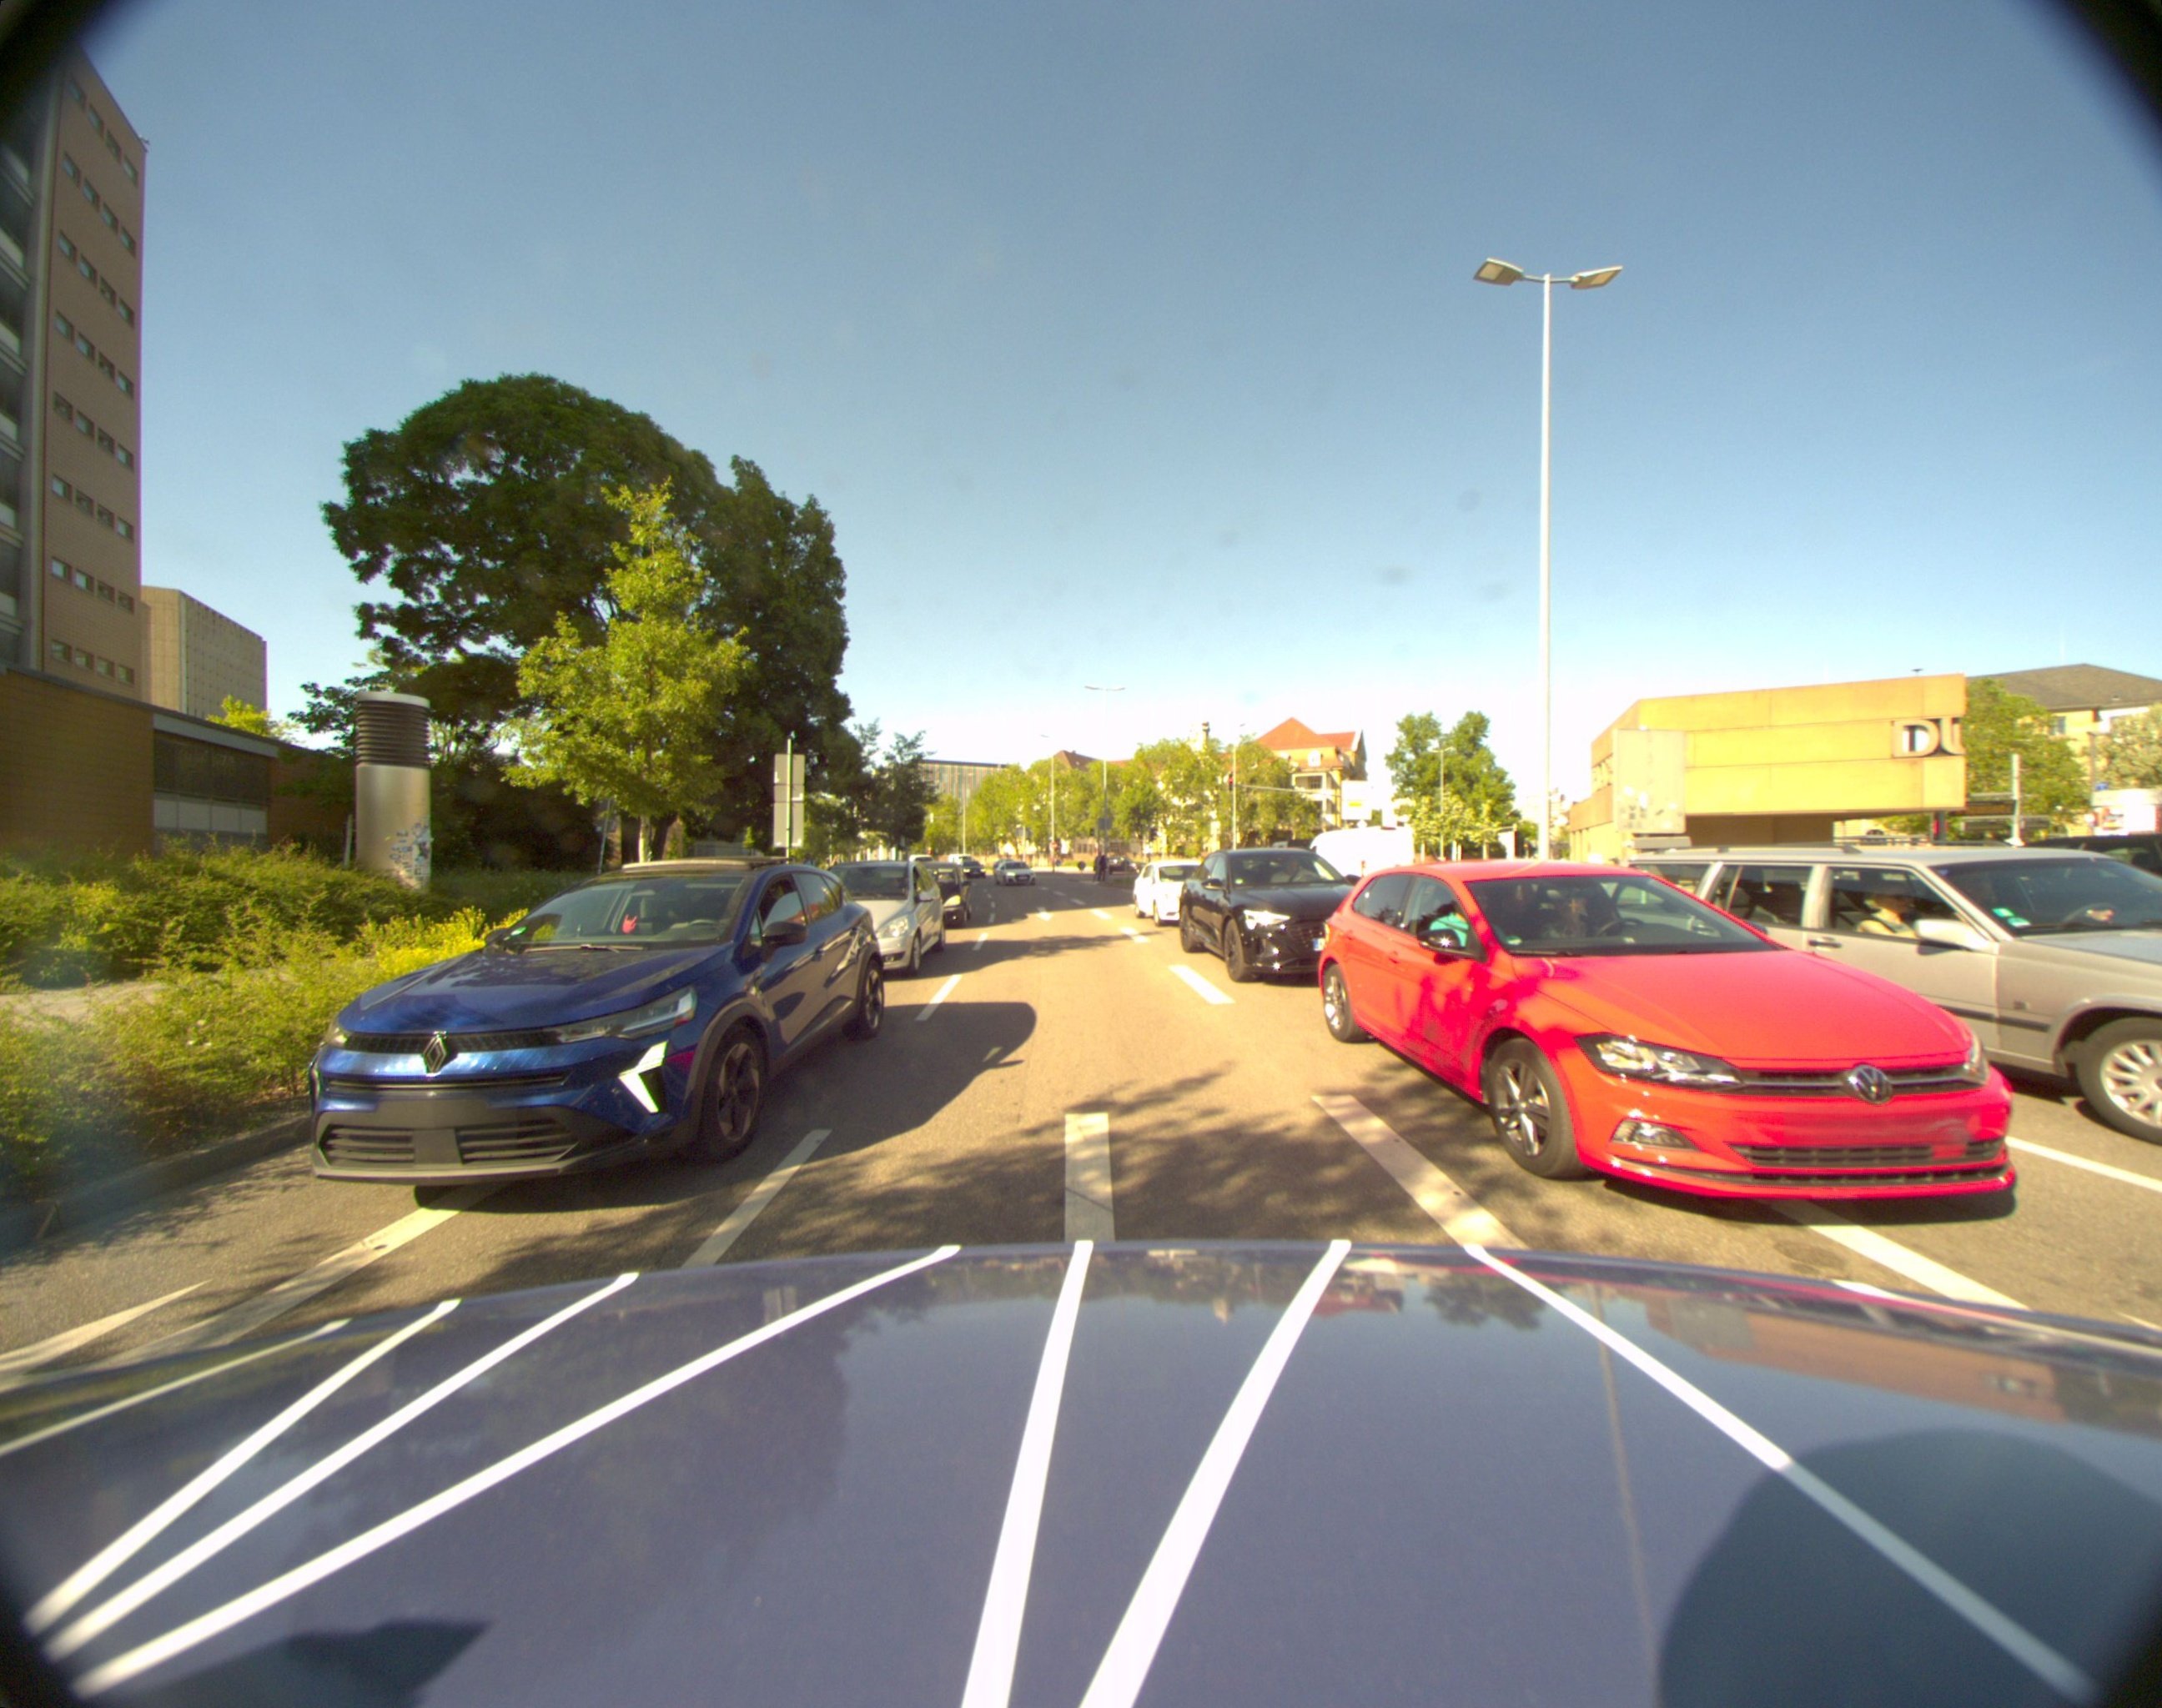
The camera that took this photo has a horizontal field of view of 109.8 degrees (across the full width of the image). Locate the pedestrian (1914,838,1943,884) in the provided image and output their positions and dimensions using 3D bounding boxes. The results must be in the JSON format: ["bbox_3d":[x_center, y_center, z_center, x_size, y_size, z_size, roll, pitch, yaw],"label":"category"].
[{"bbox_3d":[33.070,0.275,29.643,0.645,1.766,0.468,-1,1,-4],"label":"pedestrian"}]

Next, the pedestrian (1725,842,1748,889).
[{"bbox_3d":[25.019,0.431,29.015,0.644,1.766,0.618,0,1,42],"label":"pedestrian"}]

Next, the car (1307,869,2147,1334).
[{"bbox_3d":[2.794,0.883,4.525,1.674,1.464,3.853,-2,0,-1],"label":"car"}]

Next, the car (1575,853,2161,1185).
[{"bbox_3d":[5.765,0.779,5.016,1.713,1.464,4.752,-3,-1,-2],"label":"car"}]

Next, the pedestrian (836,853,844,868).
[{"bbox_3d":[-30.392,0.814,95.696,0.823,1.906,0.770,-2,1,-22],"label":"pedestrian"}]

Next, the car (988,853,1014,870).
[{"bbox_3d":[-7.584,0.689,71.903,1.598,1.596,3.066,0,0,-24],"label":"car"}]

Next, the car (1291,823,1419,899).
[{"bbox_3d":[9.792,0.230,27.706,2.000,2.493,5.414,0,0,-9],"label":"car"}]

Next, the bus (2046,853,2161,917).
[{"bbox_3d":[21.639,0.593,14.229,1.646,1.234,4.181,0,0,-5],"label":"bus"}]

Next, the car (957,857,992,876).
[{"bbox_3d":[-8.620,0.981,61.376,1.884,1.472,3.993,-2,0,-22],"label":"car"}]

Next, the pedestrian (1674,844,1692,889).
[{"bbox_3d":[24.018,0.506,30.312,0.467,1.766,0.647,0,1,29],"label":"pedestrian"}]

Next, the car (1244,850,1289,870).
[{"bbox_3d":[15.372,0.481,62.901,3.385,1.669,1.522,0,0,-25],"label":"car"}]

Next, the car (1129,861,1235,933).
[{"bbox_3d":[2.248,0.919,17.769,1.575,1.410,3.711,-2,0,-6],"label":"car"}]

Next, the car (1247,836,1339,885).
[{"bbox_3d":[10.721,0.307,39.070,2.117,2.300,6.209,-1,0,-10],"label":"car"}]

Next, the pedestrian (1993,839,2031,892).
[{"bbox_3d":[31.404,0.391,25.634,0.644,1.766,0.469,0,1,21],"label":"pedestrian"}]

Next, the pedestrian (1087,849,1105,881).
[{"bbox_3d":[0.895,0.621,44.535,0.887,1.814,0.776,-2,1,-7],"label":"pedestrian"}]

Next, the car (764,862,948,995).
[{"bbox_3d":[-3.186,0.959,11.596,1.786,1.615,4.042,0,0,-3],"label":"car"}]

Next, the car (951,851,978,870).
[{"bbox_3d":[-13.502,0.735,87.723,1.790,2.002,4.223,-2,1,-26],"label":"car"}]

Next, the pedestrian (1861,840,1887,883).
[{"bbox_3d":[33.255,0.323,31.862,0.645,1.766,0.468,-1,1,-4],"label":"pedestrian"}]

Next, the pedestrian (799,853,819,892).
[{"bbox_3d":[-11.190,0.748,31.292,0.693,1.594,0.661,0,0,-14],"label":"pedestrian"}]

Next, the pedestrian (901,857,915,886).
[{"bbox_3d":[-9.553,0.956,41.951,0.662,1.594,0.692,0,0,-19],"label":"pedestrian"}]

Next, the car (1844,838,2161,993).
[{"bbox_3d":[12.251,0.653,9.097,1.870,1.649,4.069,0,0,-10],"label":"car"}]

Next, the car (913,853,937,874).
[{"bbox_3d":[-14.020,0.820,68.327,1.829,1.842,3.747,0,0,-16],"label":"car"}]

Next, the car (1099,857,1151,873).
[{"bbox_3d":[3.553,0.868,61.240,3.994,1.197,1.586,-2,0,10],"label":"car"}]

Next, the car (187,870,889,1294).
[{"bbox_3d":[-2.684,0.956,5.076,1.705,1.596,4.084,-1,0,0],"label":"car"}]

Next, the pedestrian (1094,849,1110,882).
[{"bbox_3d":[1.209,0.644,43.092,0.756,1.814,0.776,-2,1,-5],"label":"pedestrian"}]

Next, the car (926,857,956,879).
[{"bbox_3d":[-10.191,0.976,54.996,1.754,1.467,3.569,-2,1,-16],"label":"car"}]

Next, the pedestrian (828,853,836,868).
[{"bbox_3d":[-31.281,0.847,95.491,0.823,1.906,0.770,-2,1,-22],"label":"pedestrian"}]

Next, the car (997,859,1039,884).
[{"bbox_3d":[-3.736,0.975,44.371,1.754,1.370,3.569,-1,0,-17],"label":"car"}]

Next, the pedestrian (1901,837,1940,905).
[{"bbox_3d":[22.824,0.455,20.659,0.647,1.778,0.666,-3,1,-39],"label":"pedestrian"}]

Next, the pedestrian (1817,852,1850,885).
[{"bbox_3d":[30.137,0.568,30.438,0.645,1.303,0.763,-1,0,10],"label":"pedestrian"}]

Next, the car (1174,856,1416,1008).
[{"bbox_3d":[2.570,0.834,10.351,1.859,1.606,4.452,0,0,-3],"label":"car"}]

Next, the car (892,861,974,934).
[{"bbox_3d":[-3.563,0.990,18.801,1.651,1.601,3.488,0,0,-6],"label":"car"}]
